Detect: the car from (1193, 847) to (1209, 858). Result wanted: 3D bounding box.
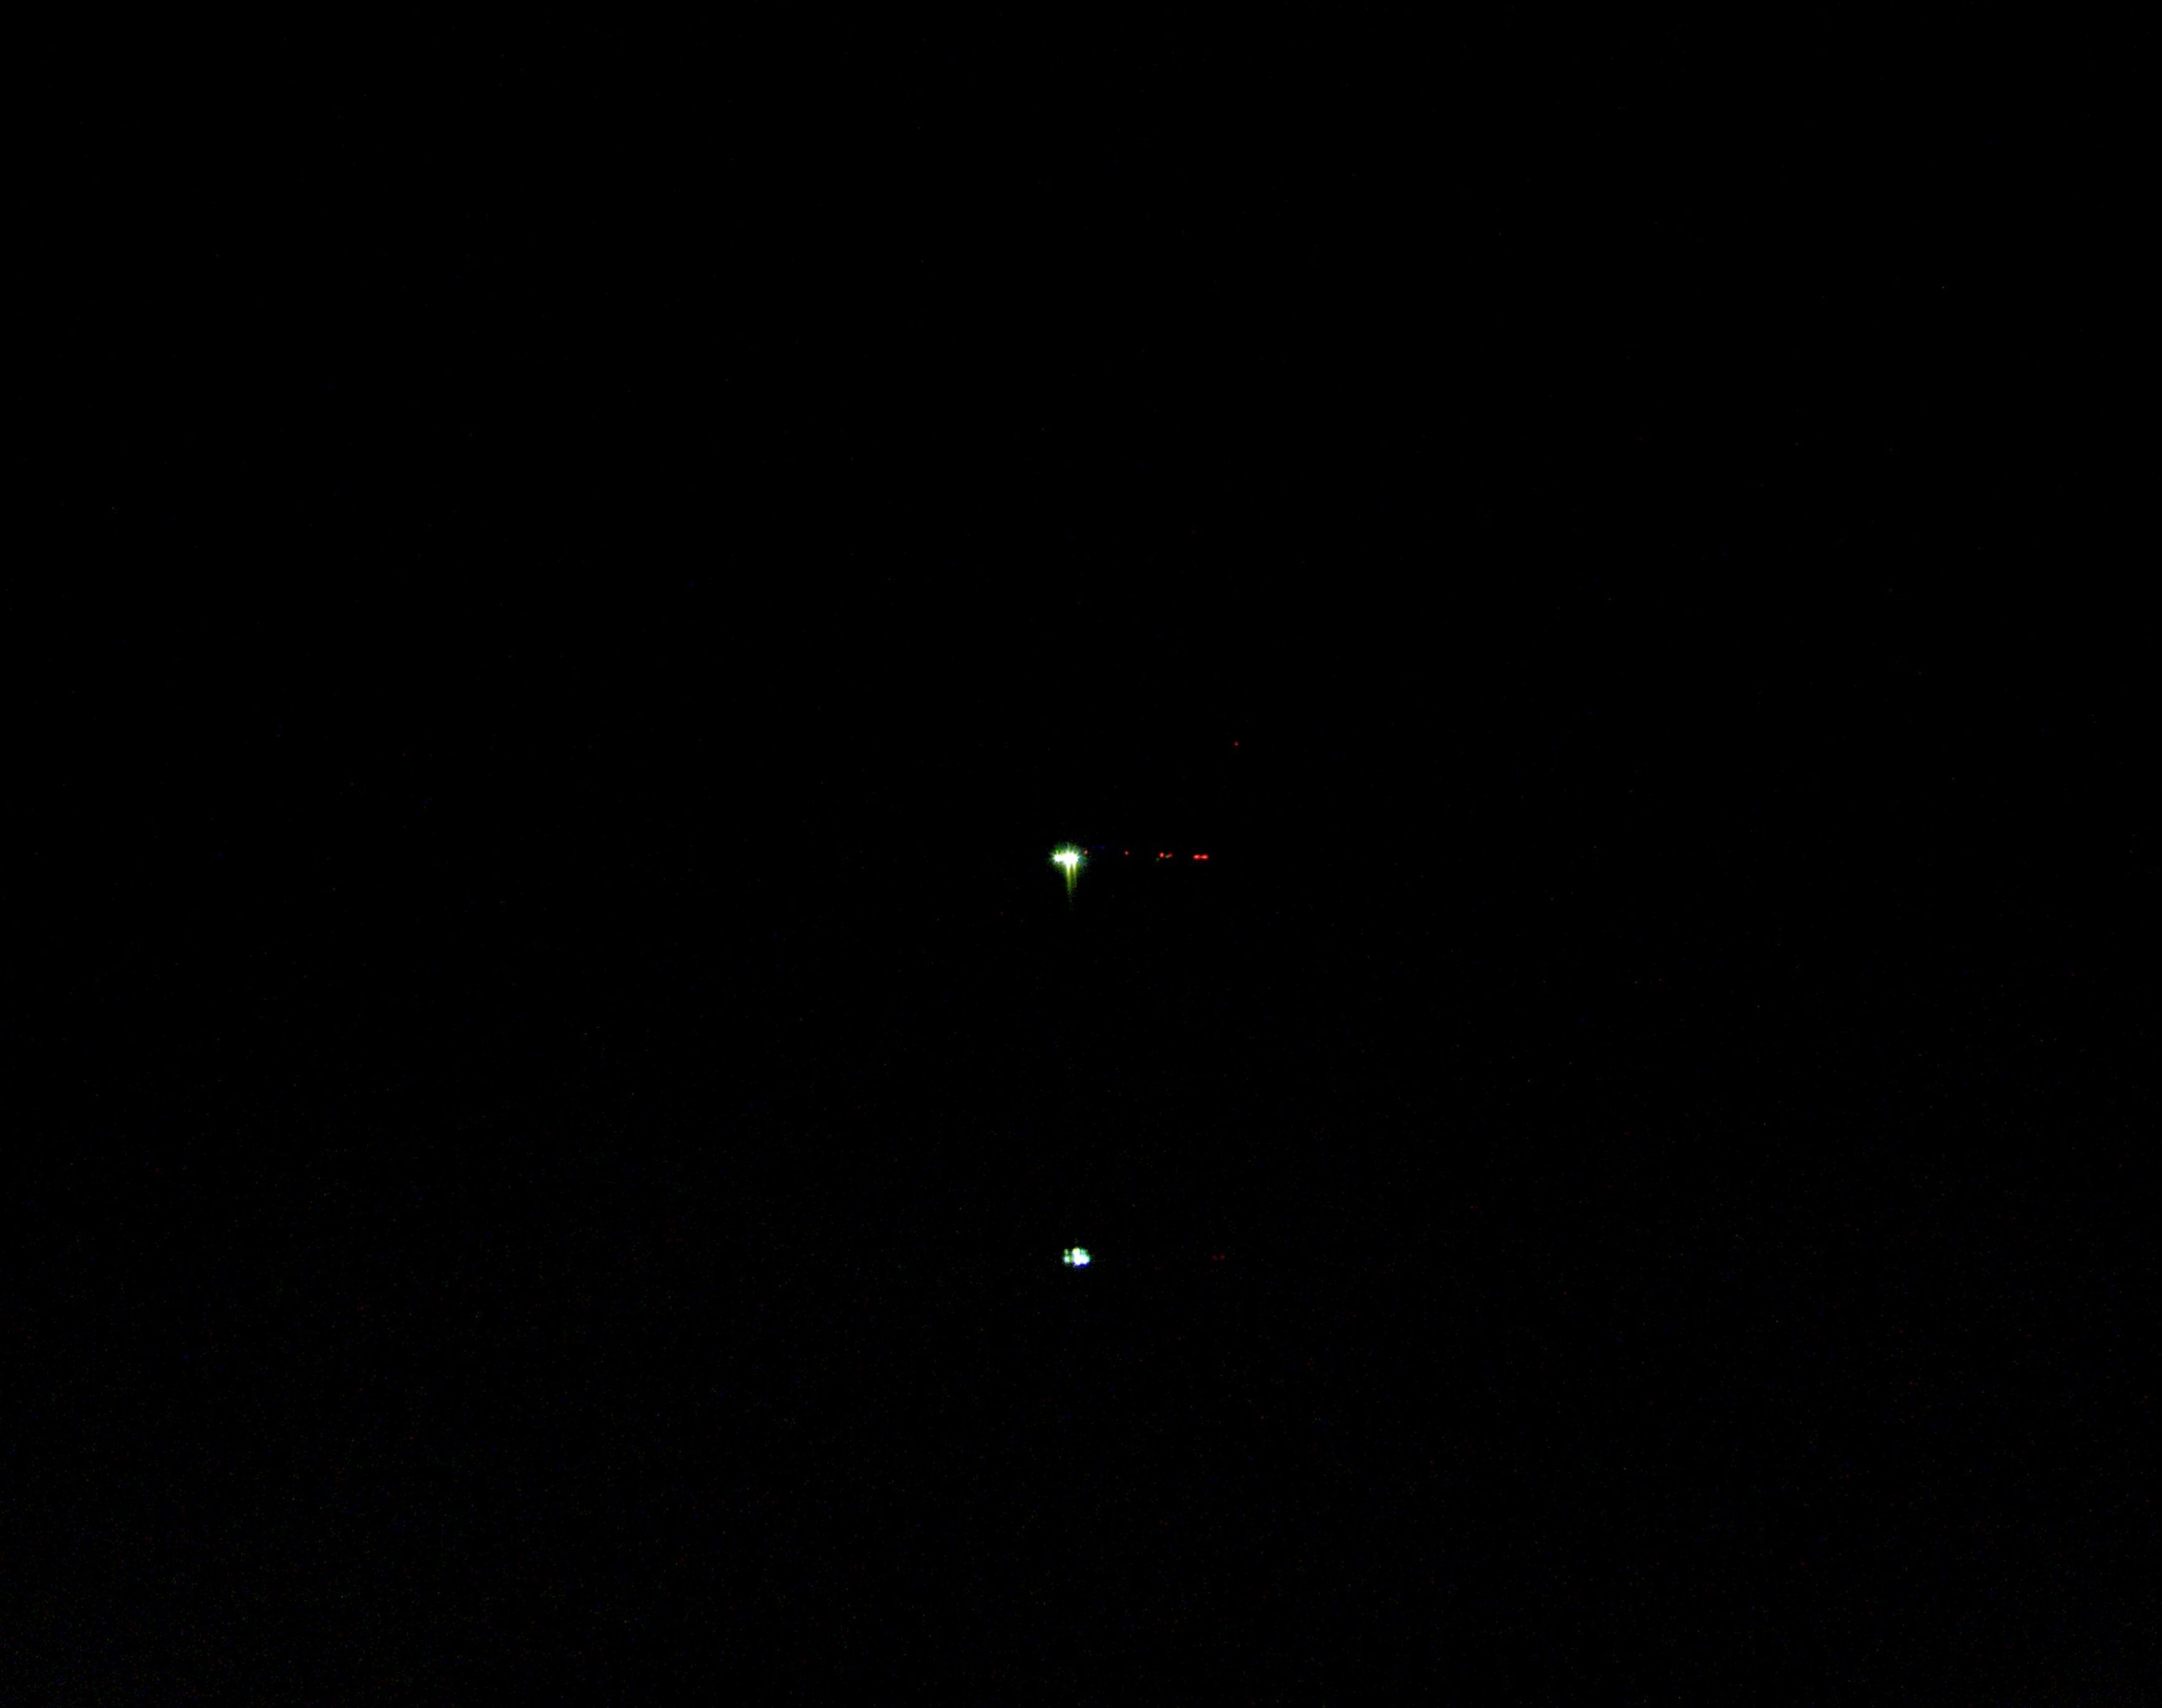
[{"bbox_3d":[18.944,-0.189,120.112,1.859,1.608,3.999,-2,1,1],"label":"car"}]

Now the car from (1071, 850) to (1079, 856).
[{"bbox_3d":[-1.592,-0.273,194.664,1.859,1.608,4.000,-1,0,1],"label":"car"}]

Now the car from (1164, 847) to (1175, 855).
[{"bbox_3d":[18.828,-0.625,162.065,1.859,1.608,3.999,-2,1,1],"label":"car"}]
